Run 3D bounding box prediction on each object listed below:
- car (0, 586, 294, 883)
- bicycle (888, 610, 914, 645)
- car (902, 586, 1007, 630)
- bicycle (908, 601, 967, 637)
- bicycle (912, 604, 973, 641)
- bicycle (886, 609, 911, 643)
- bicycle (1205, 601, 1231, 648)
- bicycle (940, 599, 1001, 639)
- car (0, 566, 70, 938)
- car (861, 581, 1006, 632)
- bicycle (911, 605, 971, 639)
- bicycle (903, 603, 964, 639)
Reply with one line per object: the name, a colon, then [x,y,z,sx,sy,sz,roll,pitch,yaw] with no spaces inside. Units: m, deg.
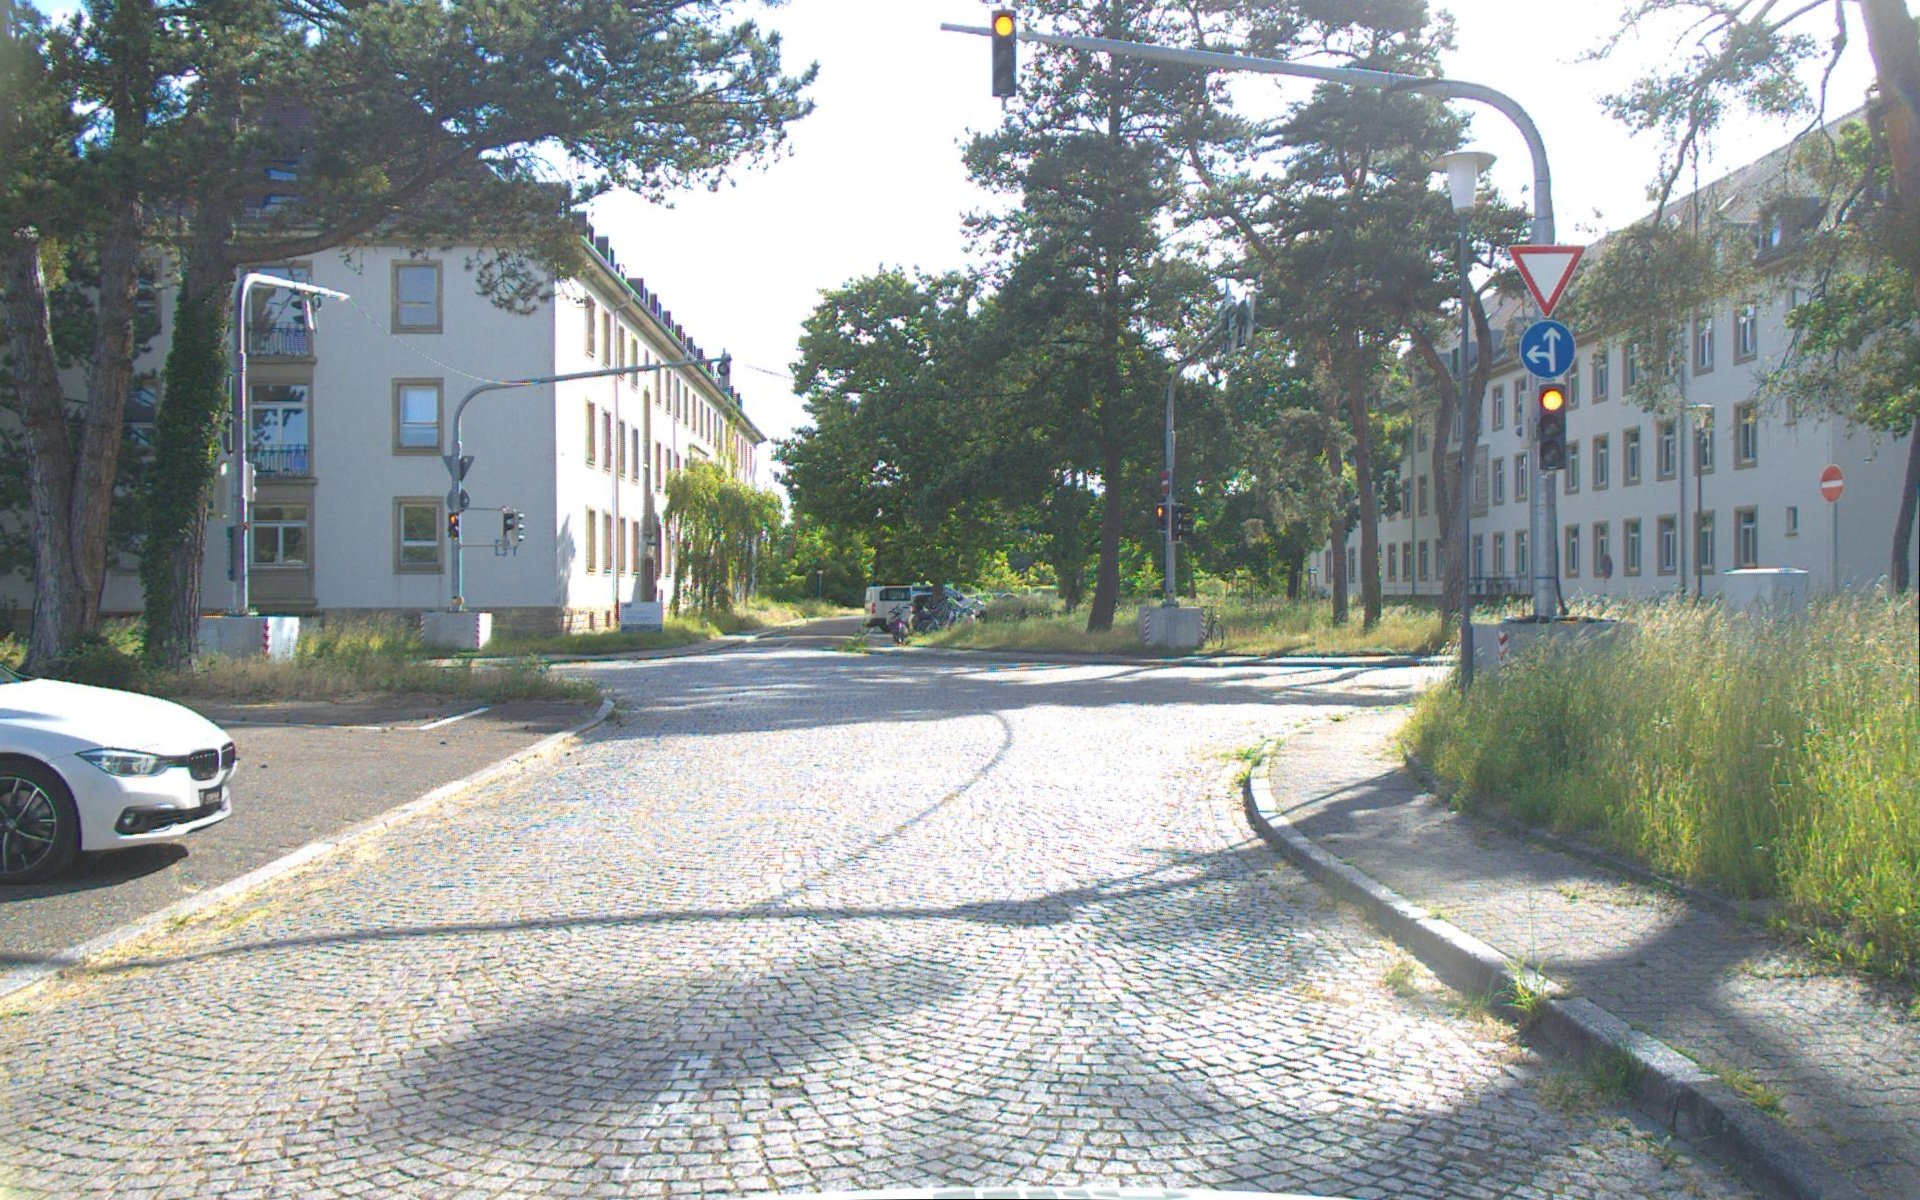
car: [-6.383,0.650,9.384,4.452,1.493,1.751,2,0,-5]
bicycle: [-1.724,0.793,47.880,0.682,0.988,1.859,0,0,-4]
car: [-0.242,0.307,65.176,3.914,1.713,1.843,0,0,-10]
bicycle: [-0.738,0.621,54.533,1.904,1.149,0.647,0,0,-7]
bicycle: [-0.557,0.716,52.215,1.903,1.149,0.749,0,0,-5]
bicycle: [-1.856,0.783,49.821,0.682,0.988,1.859,0,0,-4]
bicycle: [6.159,0.578,39.529,0.456,1.099,1.174,0,0,2]
bicycle: [0.338,0.596,52.952,1.903,1.257,0.485,0,0,-5]
car: [-6.139,0.603,6.863,3.868,1.654,1.719,2,0,-7]
car: [-1.138,0.255,69.354,5.821,2.049,2.470,0,0,-9]
bicycle: [-0.591,0.674,51.416,1.818,1.049,0.749,0,0,-5]
bicycle: [-0.860,0.669,53.421,1.919,1.149,0.641,0,0,-29]
